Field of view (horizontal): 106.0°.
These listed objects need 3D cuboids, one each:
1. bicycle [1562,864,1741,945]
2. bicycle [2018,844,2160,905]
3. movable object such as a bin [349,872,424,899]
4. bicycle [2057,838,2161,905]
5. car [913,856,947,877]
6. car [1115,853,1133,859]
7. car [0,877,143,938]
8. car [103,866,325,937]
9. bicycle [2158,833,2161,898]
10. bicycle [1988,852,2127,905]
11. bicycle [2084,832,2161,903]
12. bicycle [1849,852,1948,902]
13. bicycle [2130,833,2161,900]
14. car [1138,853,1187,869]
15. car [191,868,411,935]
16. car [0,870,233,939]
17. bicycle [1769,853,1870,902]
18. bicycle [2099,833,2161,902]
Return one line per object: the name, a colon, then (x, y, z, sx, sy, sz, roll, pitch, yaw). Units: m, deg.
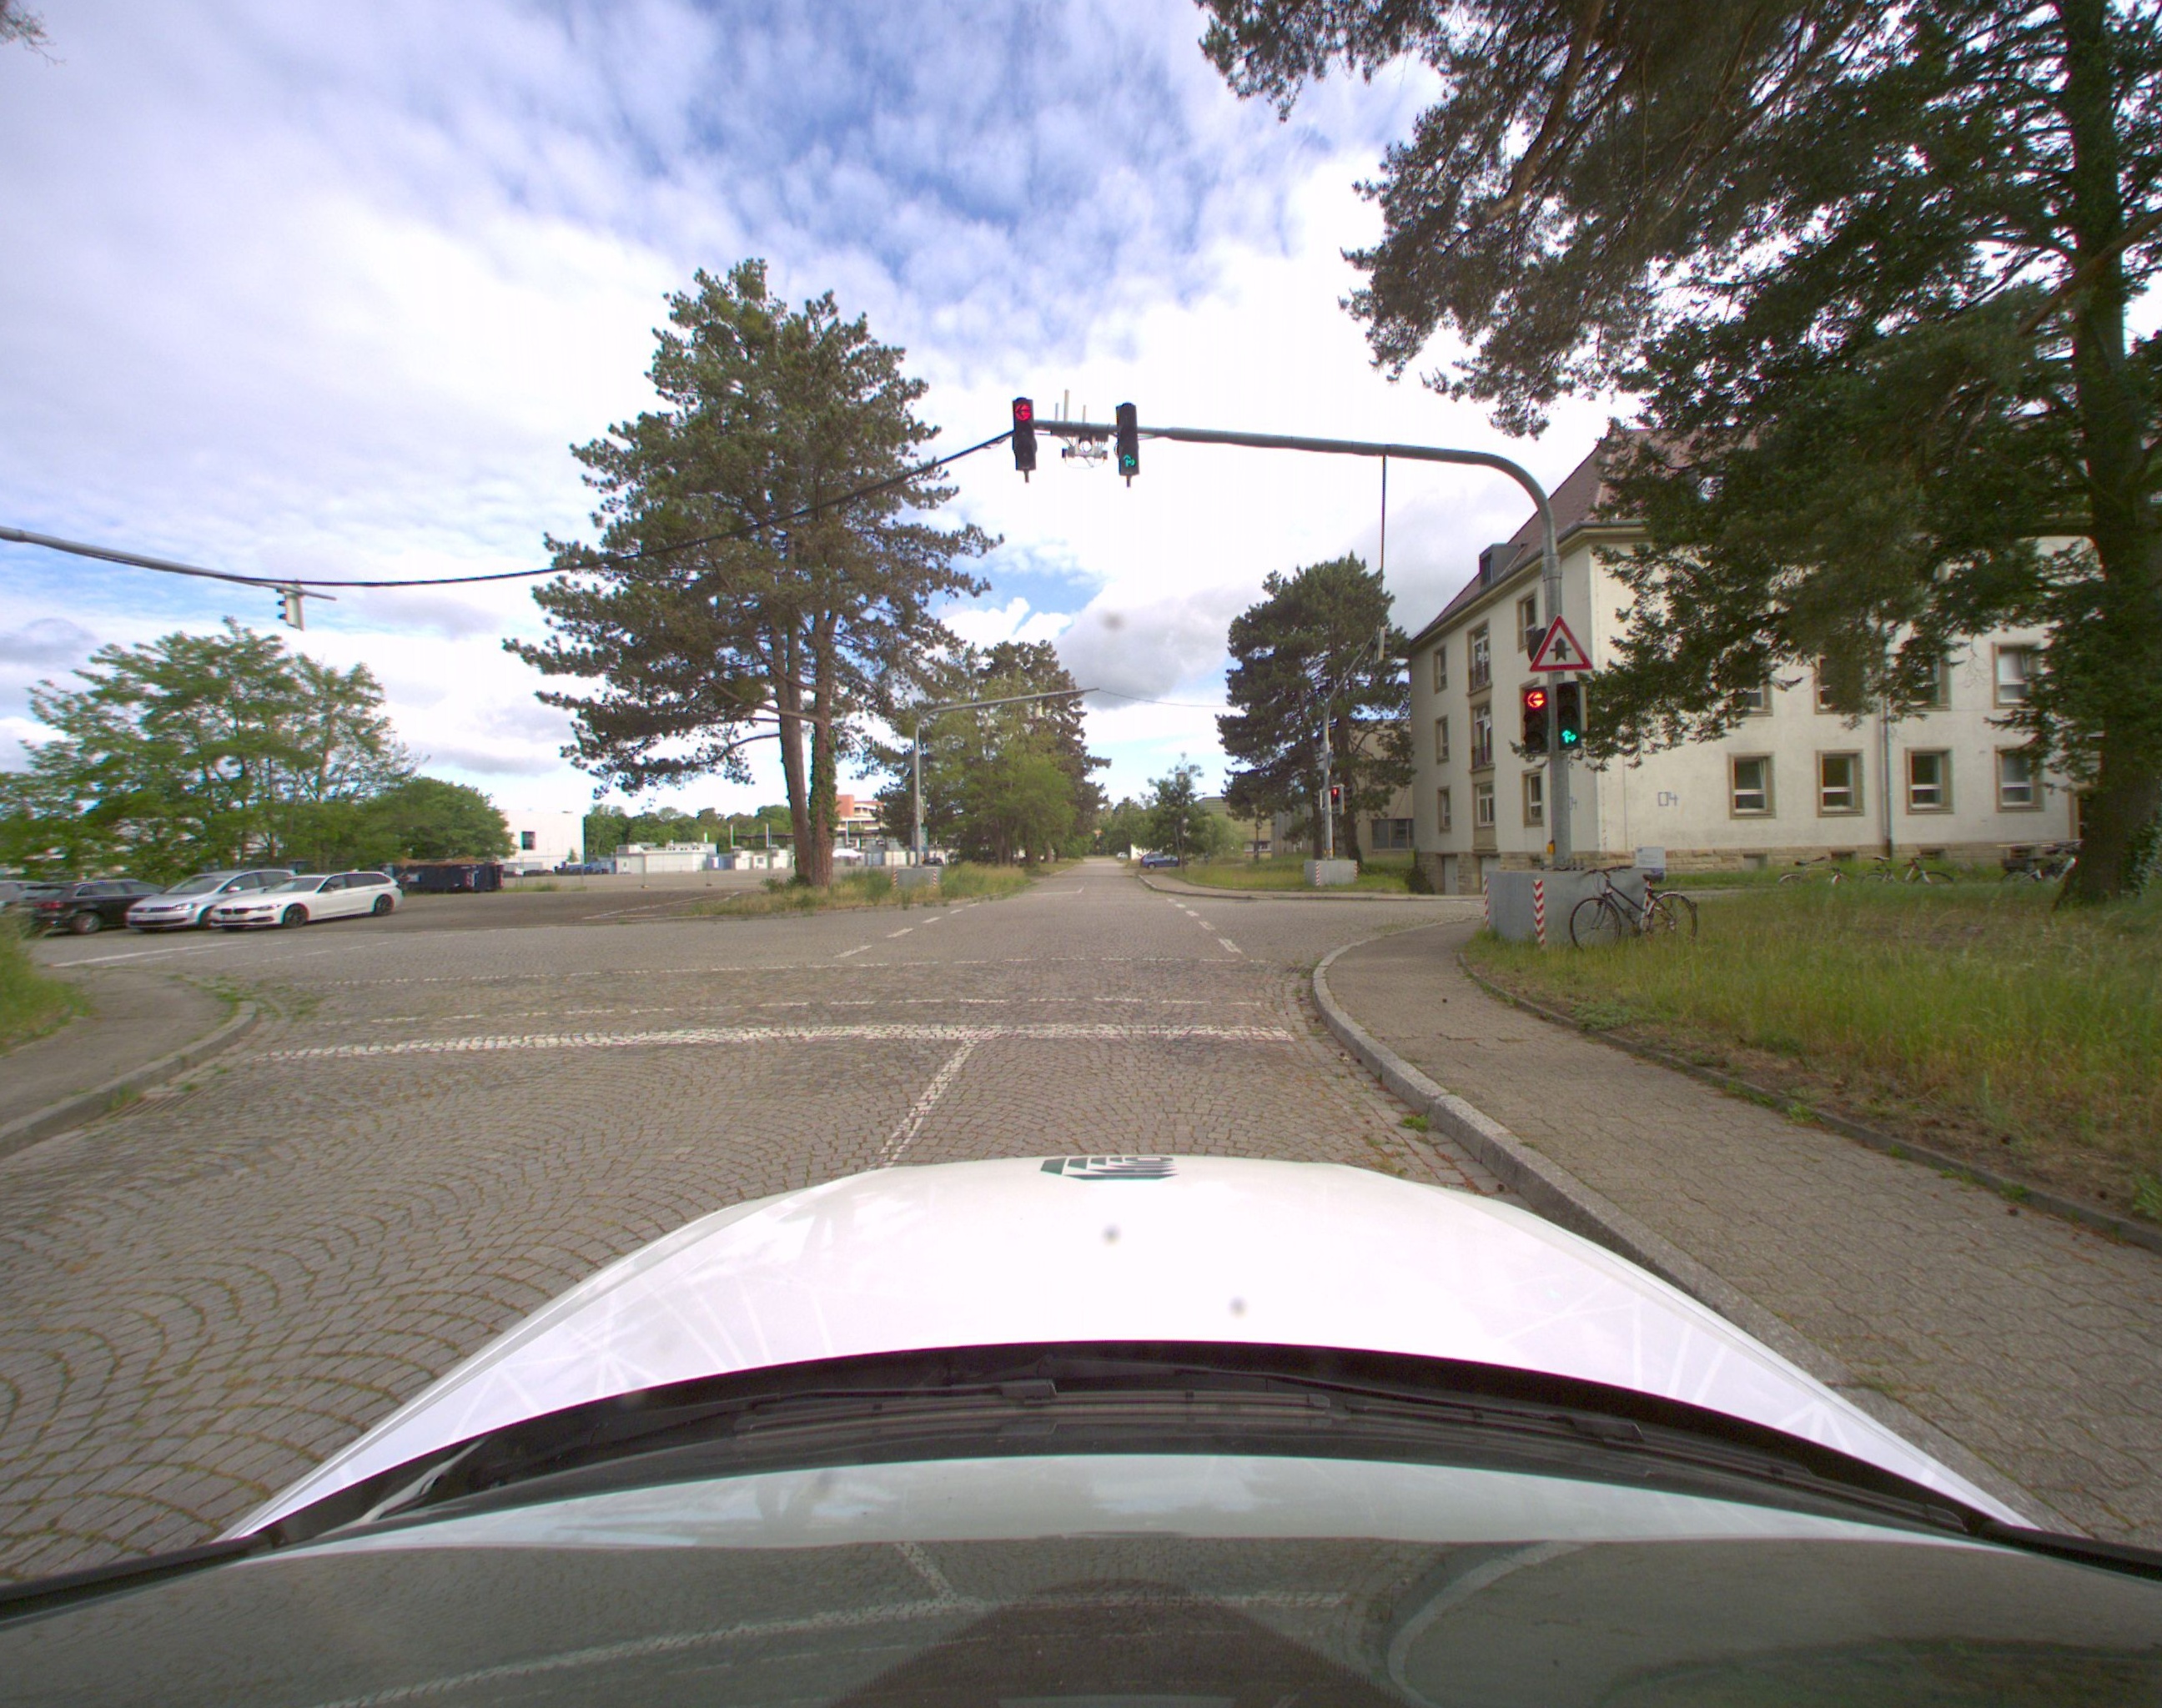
bicycle: (6.708, 0.587, 9.625, 1.693, 0.874, 0.573, -1, 0, 1)
bicycle: (19.375, 0.365, 15.726, 0.538, 1.101, 1.906, -1, 0, 7)
movable object such as a bin: (-31.014, 1.387, 36.437, 1.175, 1.048, 2.655, -2, 0, -3)
bicycle: (19.948, 0.317, 15.644, 0.538, 1.215, 1.642, -1, 0, 7)
car: (-11.268, 0.904, 61.026, 1.607, 1.487, 4.002, -1, 0, 2)
car: (10.232, 0.462, 192.676, 3.980, 1.398, 1.997, -1, 0, -5)
car: (-30.395, 1.530, 23.439, 1.788, 1.566, 4.323, -1, 0, -2)
car: (-24.961, 1.293, 23.736, 1.816, 1.584, 4.324, -1, 3, -2)
bicycle: (22.054, 0.242, 15.636, 0.389, 1.320, 1.922, -1, 0, 7)
bicycle: (18.723, 0.439, 15.685, 0.538, 0.949, 1.905, -1, 0, 7)
bicycle: (20.446, 0.253, 15.476, 0.435, 1.320, 2.051, -1, 0, 7)
bicycle: (17.227, 0.482, 17.186, 1.531, 1.014, 0.543, -1, 0, 0)
bicycle: (21.606, 0.246, 15.672, 0.503, 1.320, 1.923, -1, 0, 7)
car: (7.518, 0.640, 75.585, 4.331, 1.422, 1.999, -1, 0, -1)
car: (-22.467, 1.287, 23.792, 1.804, 1.441, 4.739, -1, 2, -1)
car: (-27.723, 1.379, 23.551, 1.850, 1.501, 4.324, -1, 3, -2)
bicycle: (15.472, 0.486, 17.077, 1.615, 0.980, 0.530, -1, 0, 0)
bicycle: (21.018, 0.250, 15.660, 0.573, 1.320, 1.979, -1, 0, 7)
